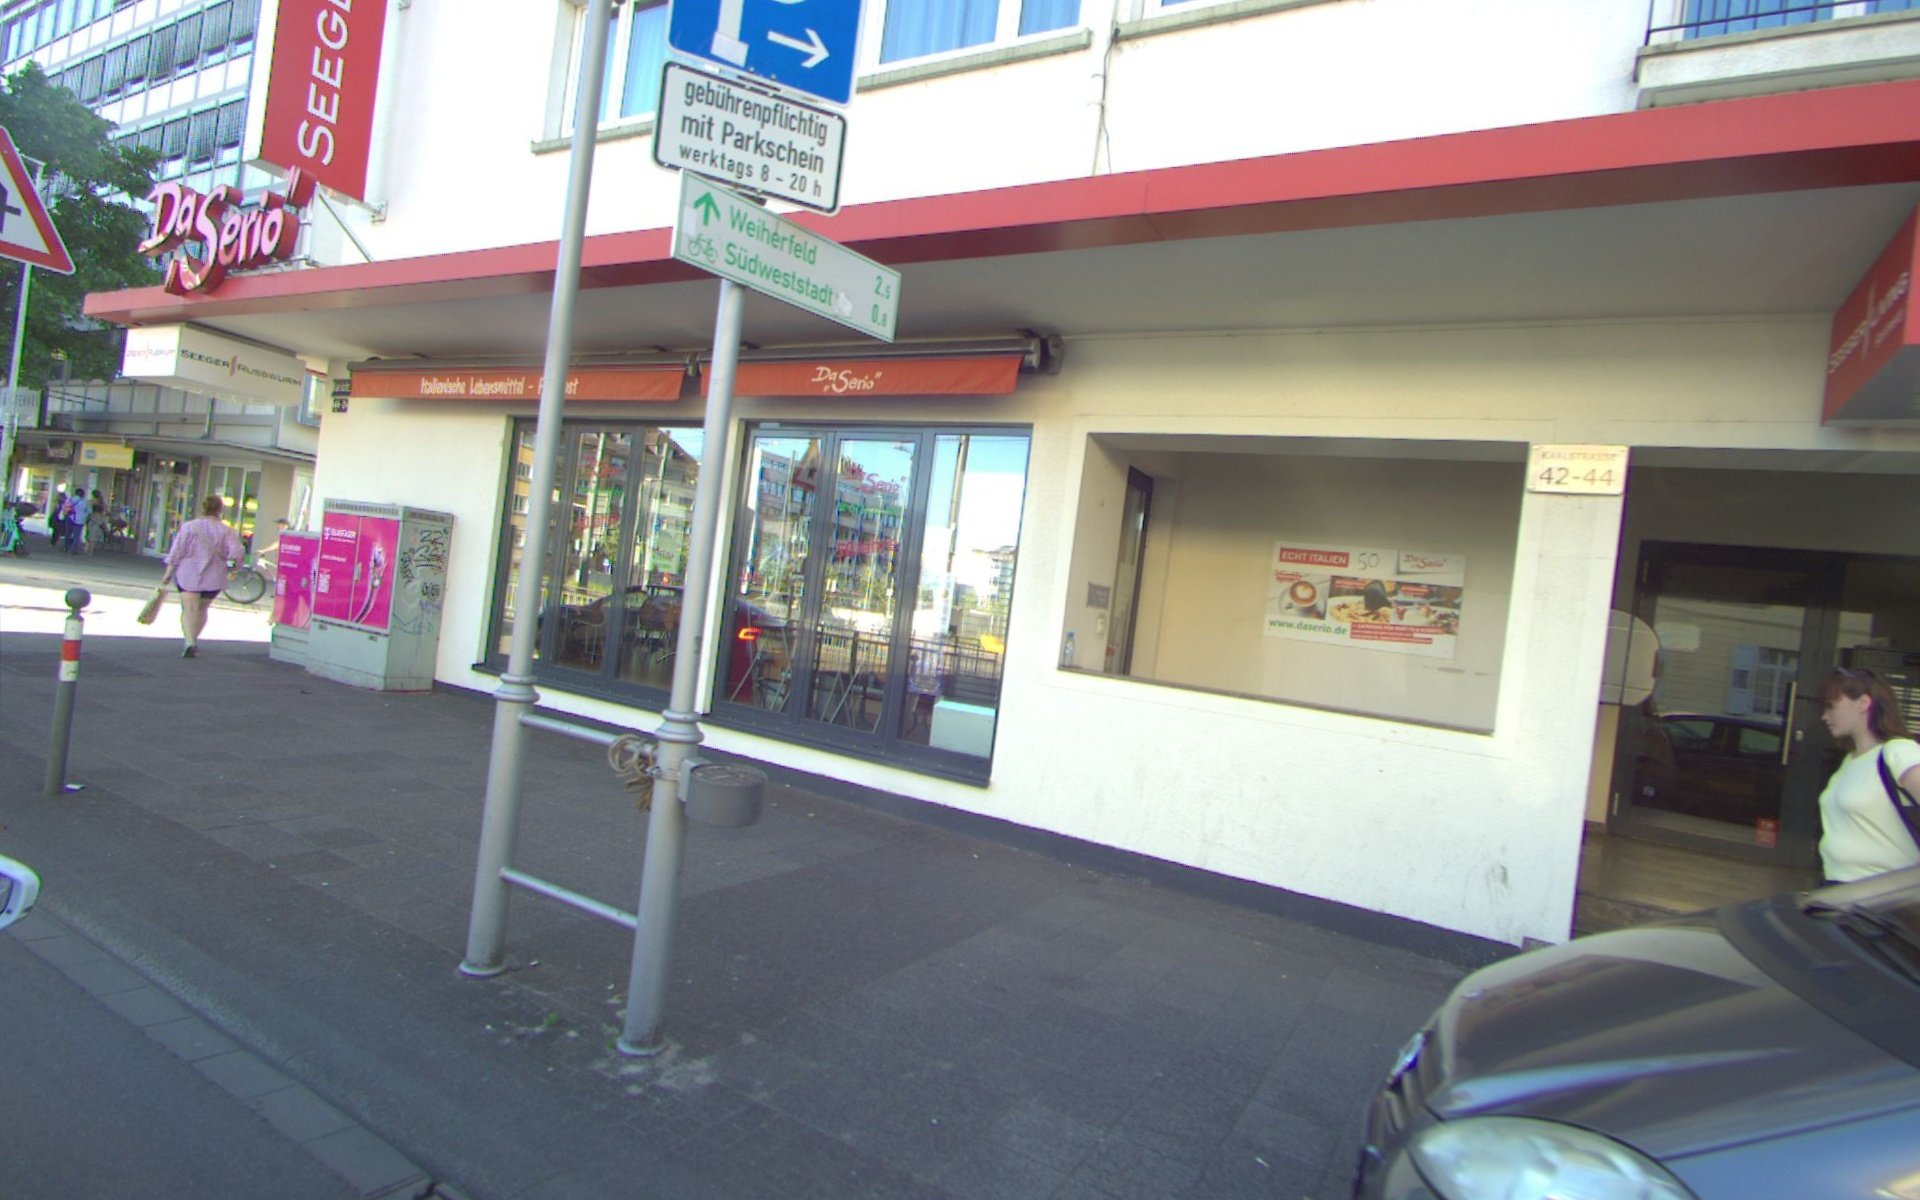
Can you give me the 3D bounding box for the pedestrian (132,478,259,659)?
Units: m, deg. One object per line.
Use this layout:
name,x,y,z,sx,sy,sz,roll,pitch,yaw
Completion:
pedestrian,-7.883,-0.310,10.412,0.813,1.702,0.708,9,-2,-36

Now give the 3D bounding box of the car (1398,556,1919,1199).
car,2.678,1.006,1.415,3.587,1.652,1.747,7,1,31

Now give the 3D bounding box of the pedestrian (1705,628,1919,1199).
pedestrian,3.340,1.069,3.573,0.918,1.796,0.804,7,0,35

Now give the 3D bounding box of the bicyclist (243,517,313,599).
bicyclist,-13.505,-0.830,19.913,0.905,1.454,0.621,10,-3,-41

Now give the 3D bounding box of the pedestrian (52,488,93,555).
pedestrian,-23.264,-2.051,26.374,0.458,1.662,0.596,7,0,32

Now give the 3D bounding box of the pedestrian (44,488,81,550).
pedestrian,-25.417,-2.299,28.485,0.596,1.662,0.531,7,1,32

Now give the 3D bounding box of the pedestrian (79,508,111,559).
pedestrian,-23.200,-1.780,26.982,0.522,1.296,0.420,7,0,32

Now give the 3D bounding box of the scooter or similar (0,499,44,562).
scooter or similar,-21.794,-1.610,22.730,0.683,1.332,1.415,6,-1,6

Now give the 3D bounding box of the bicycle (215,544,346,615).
bicycle,-13.472,-0.399,19.988,1.967,1.084,0.766,11,-4,-41

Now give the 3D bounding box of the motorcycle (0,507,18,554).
motorcycle,-25.290,-1.920,25.414,0.586,1.140,1.997,7,-3,30

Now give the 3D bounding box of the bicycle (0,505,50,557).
bicycle,-23.531,-1.755,24.380,0.475,1.134,2.055,7,-2,31
